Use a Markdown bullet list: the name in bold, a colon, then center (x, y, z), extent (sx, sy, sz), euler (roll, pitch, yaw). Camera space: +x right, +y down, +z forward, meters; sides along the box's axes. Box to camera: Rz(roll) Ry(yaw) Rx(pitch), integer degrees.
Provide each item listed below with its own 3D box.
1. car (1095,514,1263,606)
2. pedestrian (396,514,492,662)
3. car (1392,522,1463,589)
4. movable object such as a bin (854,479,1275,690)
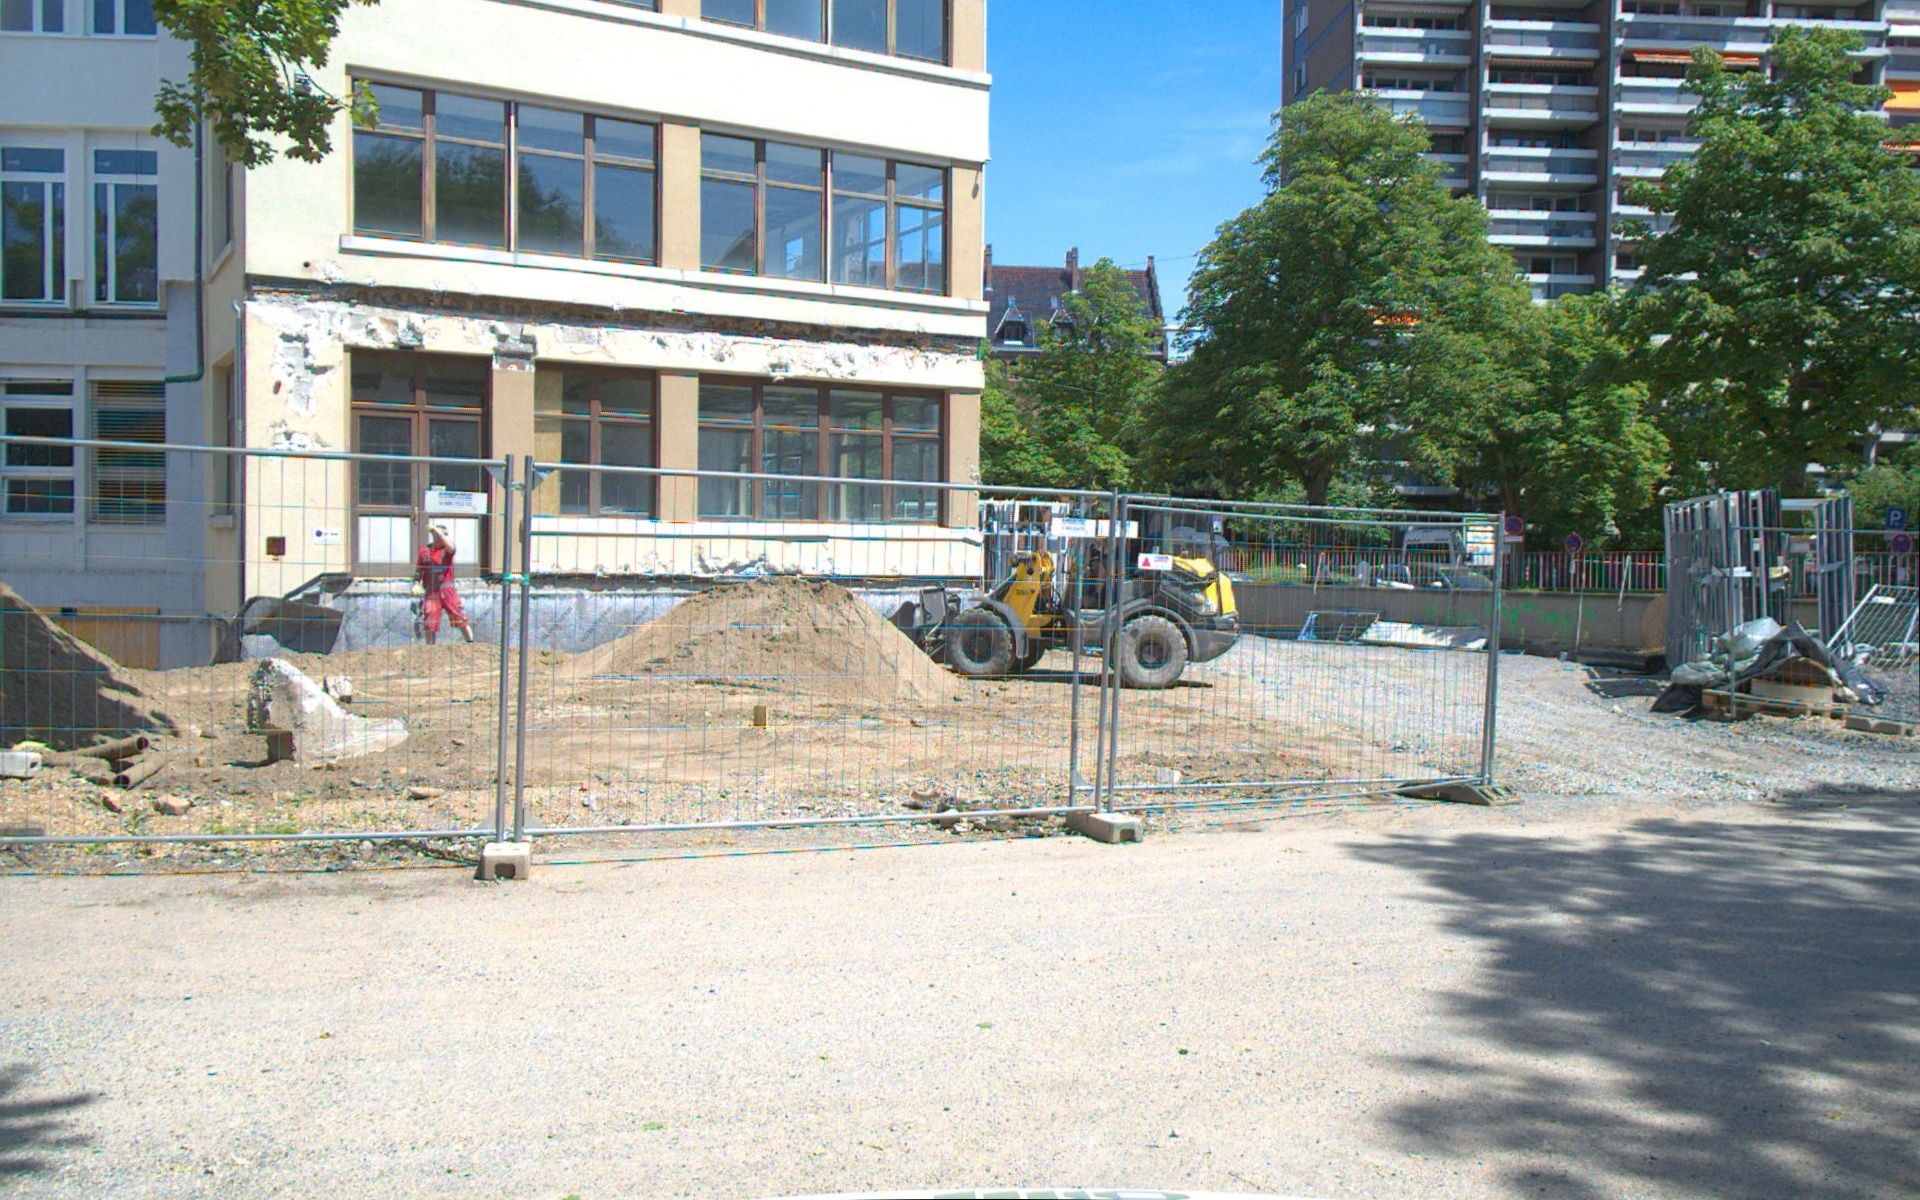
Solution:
- **car**: center (6.157, -1.133, 47.180), extent (1.973, 2.458, 5.189), euler (0, 1, -31)
- **pedestrian**: center (-6.753, -0.160, 21.623), extent (0.975, 1.879, 0.906), euler (0, 1, -36)
- **car**: center (16.884, -1.583, 59.575), extent (2.139, 2.297, 4.871), euler (1, 1, 19)
- **movable object such as a bin**: center (1.376, -0.239, 22.367), extent (5.290, 2.507, 2.369), euler (2, 2, 2)
